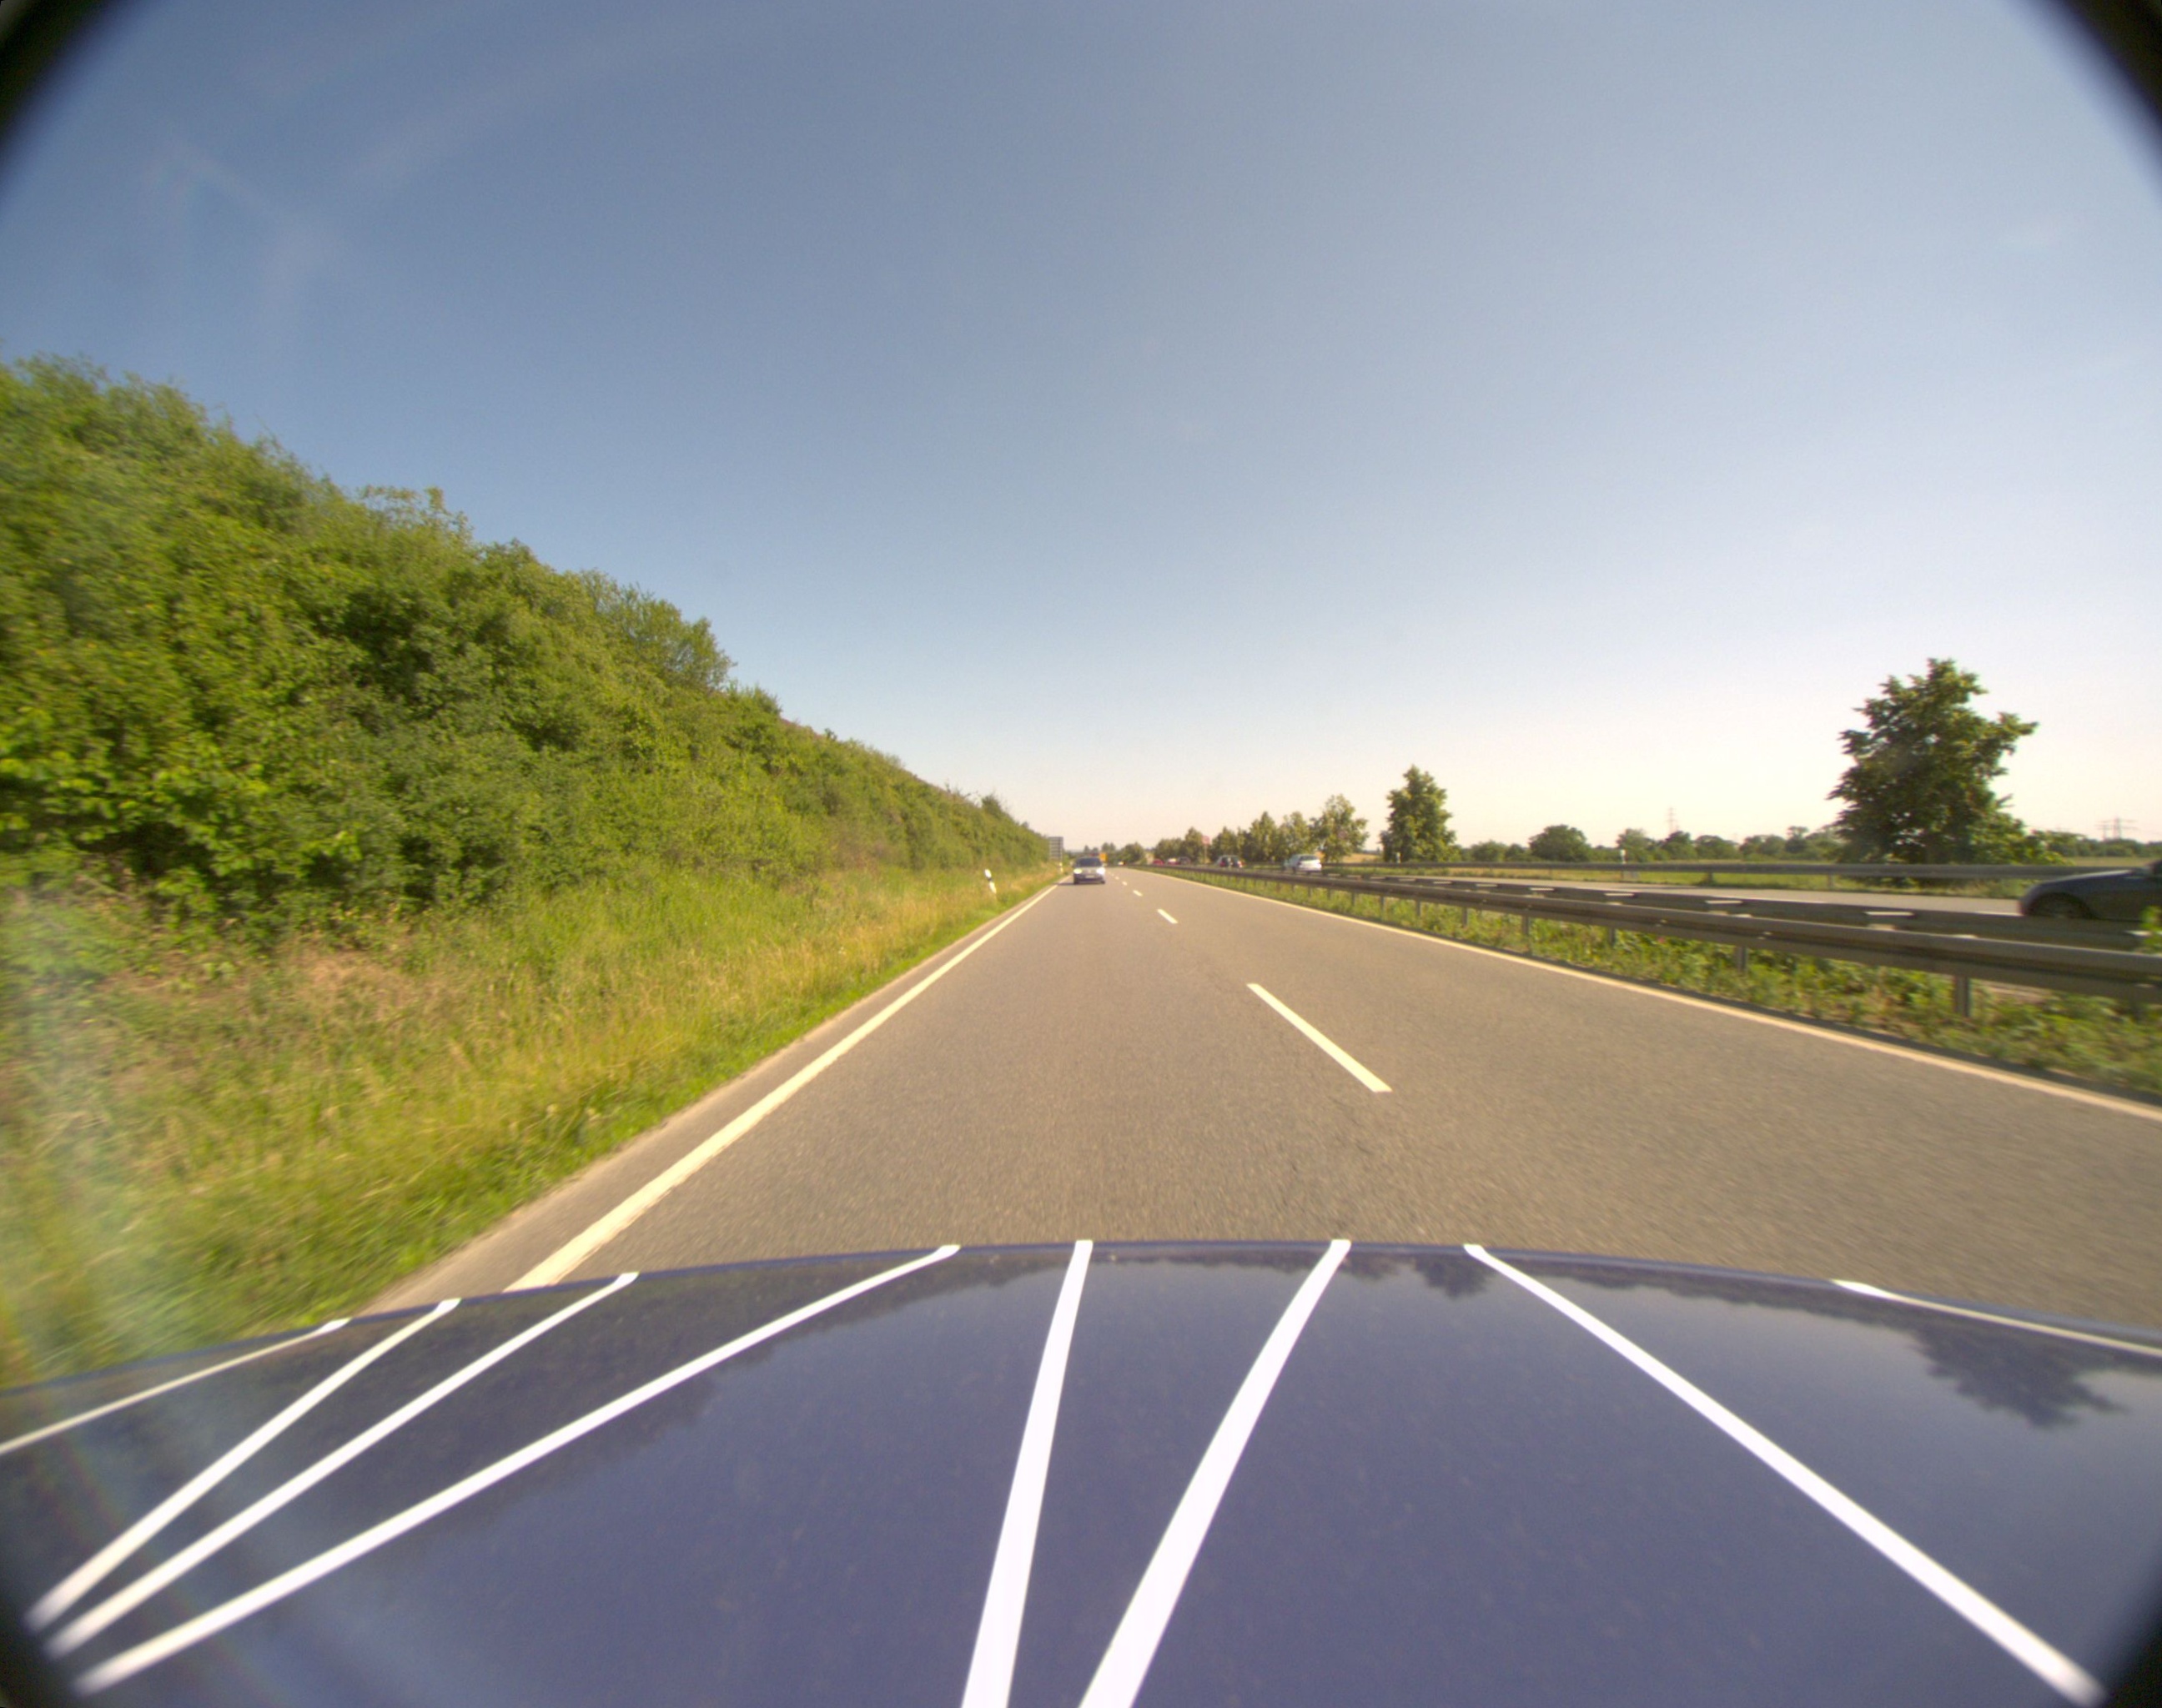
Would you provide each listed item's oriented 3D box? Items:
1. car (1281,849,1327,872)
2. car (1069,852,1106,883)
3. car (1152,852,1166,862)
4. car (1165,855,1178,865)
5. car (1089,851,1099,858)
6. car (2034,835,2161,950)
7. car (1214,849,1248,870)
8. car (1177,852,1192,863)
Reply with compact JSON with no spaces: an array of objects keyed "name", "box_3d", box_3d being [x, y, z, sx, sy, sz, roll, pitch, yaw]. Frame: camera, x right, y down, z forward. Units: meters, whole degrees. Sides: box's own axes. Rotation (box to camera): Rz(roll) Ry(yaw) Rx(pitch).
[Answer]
[{"name":"car","box_3d":[15.043,0.412,51.554,1.826,1.388,4.415,-4,0,1]},{"name":"car","box_3d":[0.420,0.770,44.055,1.854,1.635,4.001,-2,1,4]},{"name":"car","box_3d":[12.946,0.470,126.605,1.881,1.484,5.095,-2,0,1]},{"name":"car","box_3d":[16.194,1.078,136.443,1.848,1.584,4.774,-3,0,1]},{"name":"car","box_3d":[2.341,0.055,138.947,1.790,1.212,4.000,-2,0,1]},{"name":"car","box_3d":[14.573,0.476,8.769,1.717,1.442,4.323,-2,0,0]},{"name":"car","box_3d":[11.521,0.432,58.607,1.717,1.461,4.415,-4,0,1]},{"name":"car","box_3d":[15.443,0.491,113.810,1.730,1.586,4.221,-2,0,1]}]
